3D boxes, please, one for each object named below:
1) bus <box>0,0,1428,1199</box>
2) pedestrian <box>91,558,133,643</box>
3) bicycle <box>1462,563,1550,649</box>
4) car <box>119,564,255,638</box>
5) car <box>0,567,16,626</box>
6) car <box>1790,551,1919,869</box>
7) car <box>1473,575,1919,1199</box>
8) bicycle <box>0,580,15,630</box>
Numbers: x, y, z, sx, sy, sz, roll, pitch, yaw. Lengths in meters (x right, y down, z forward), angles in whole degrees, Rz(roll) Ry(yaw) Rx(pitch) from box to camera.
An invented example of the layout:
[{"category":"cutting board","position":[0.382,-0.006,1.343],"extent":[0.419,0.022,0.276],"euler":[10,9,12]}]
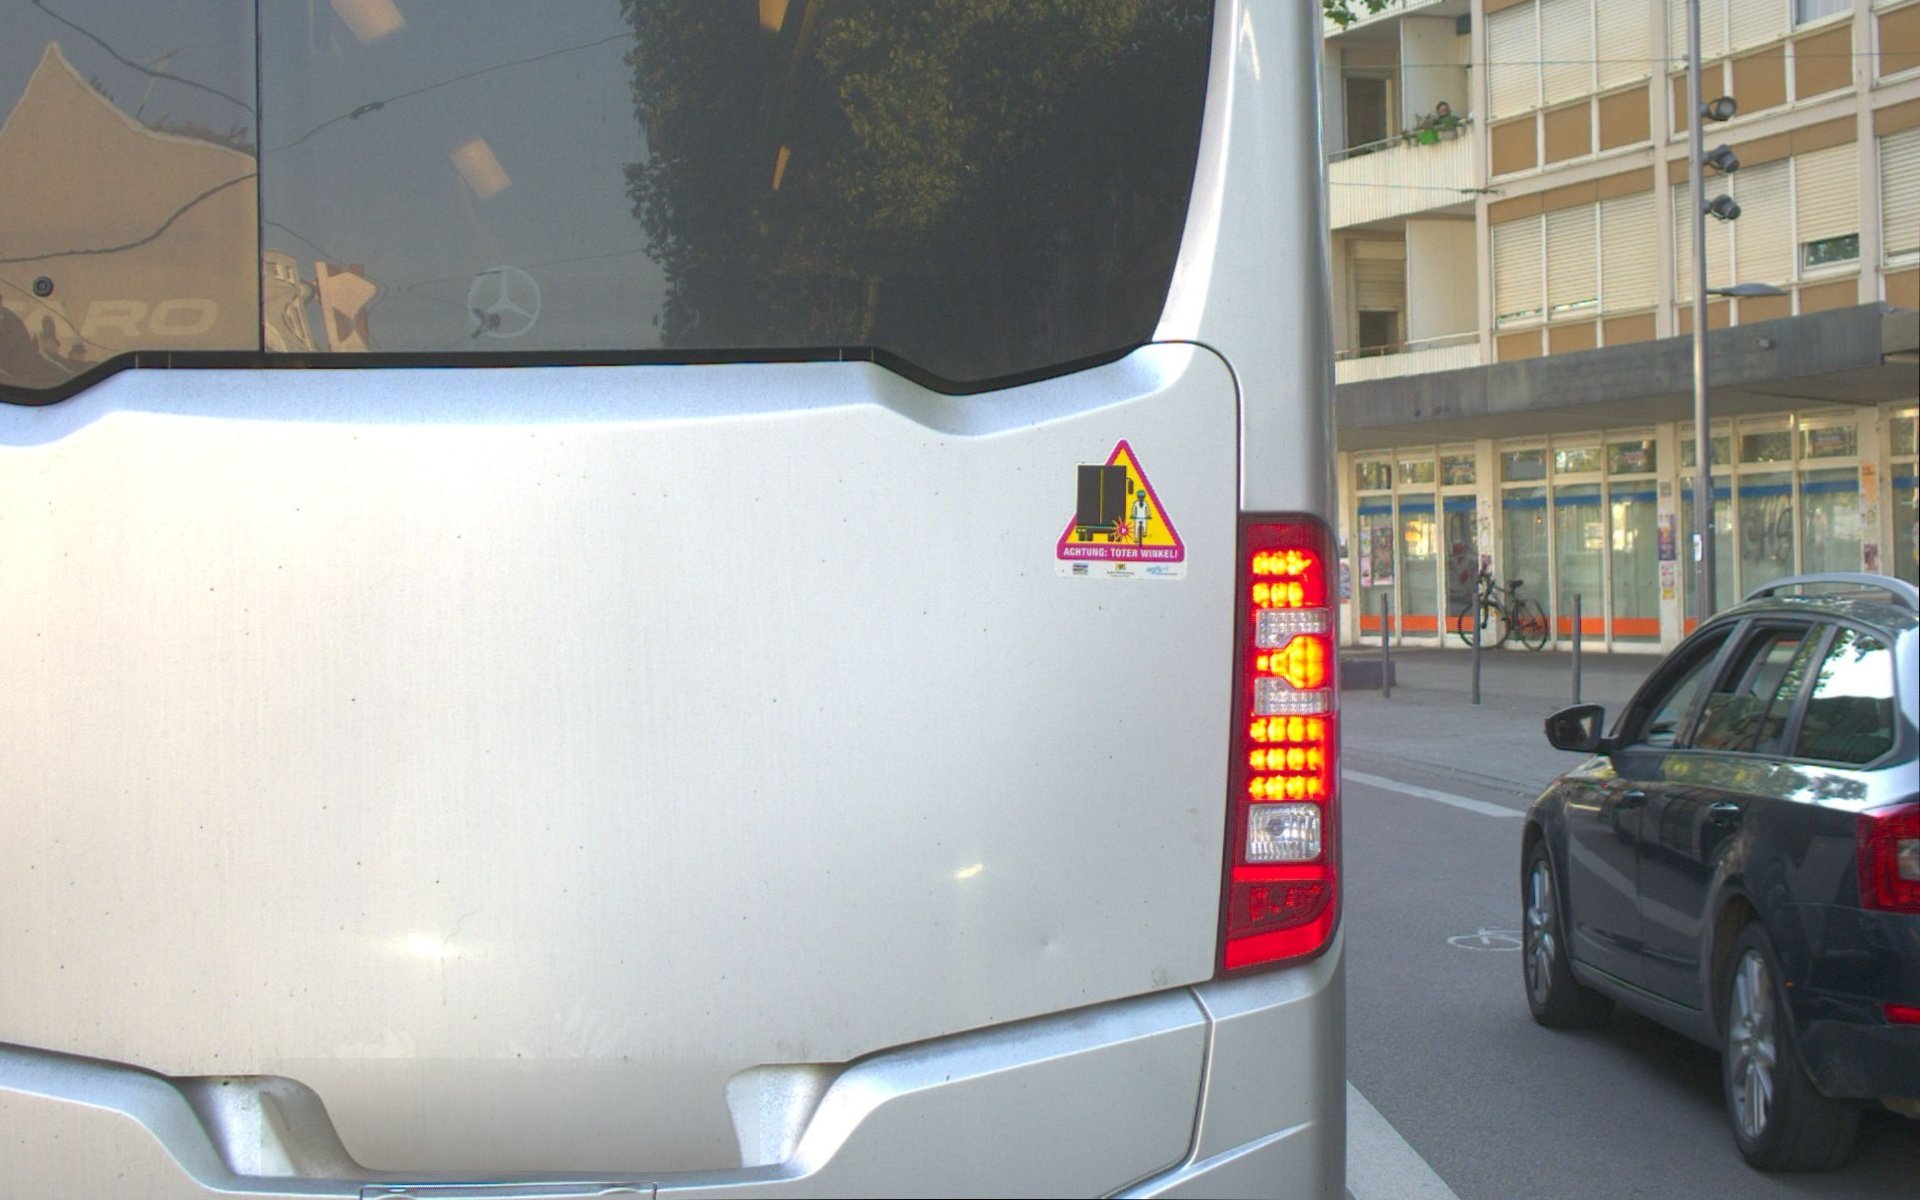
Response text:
[{"category":"bus","position":[-0.897,-0.126,9.906],"extent":[2.657,3.088,10.217],"euler":[-1,0,-2]},{"category":"pedestrian","position":[-17.269,0.005,70.024],"extent":[0.721,1.719,0.398],"euler":[-1,1,30]},{"category":"bicycle","position":[7.213,0.071,45.451],"extent":[0.437,1.089,1.462],"euler":[-4,2,-20]},{"category":"car","position":[-17.475,0.000,77.661],"extent":[1.663,1.511,3.412],"euler":[-5,4,-37]},{"category":"car","position":[-25.709,-0.041,88.035],"extent":[1.663,1.463,3.411],"euler":[-5,4,-38]},{"category":"car","position":[5.494,0.503,15.984],"extent":[1.778,1.491,4.568],"euler":[-3,1,-5]},{"category":"car","position":[2.730,0.690,9.549],"extent":[1.803,1.469,4.072],"euler":[1,0,-3]},{"category":"bicycle","position":[-23.735,0.112,84.937],"extent":[0.507,1.207,2.093],"euler":[-1,1,-21]}]
